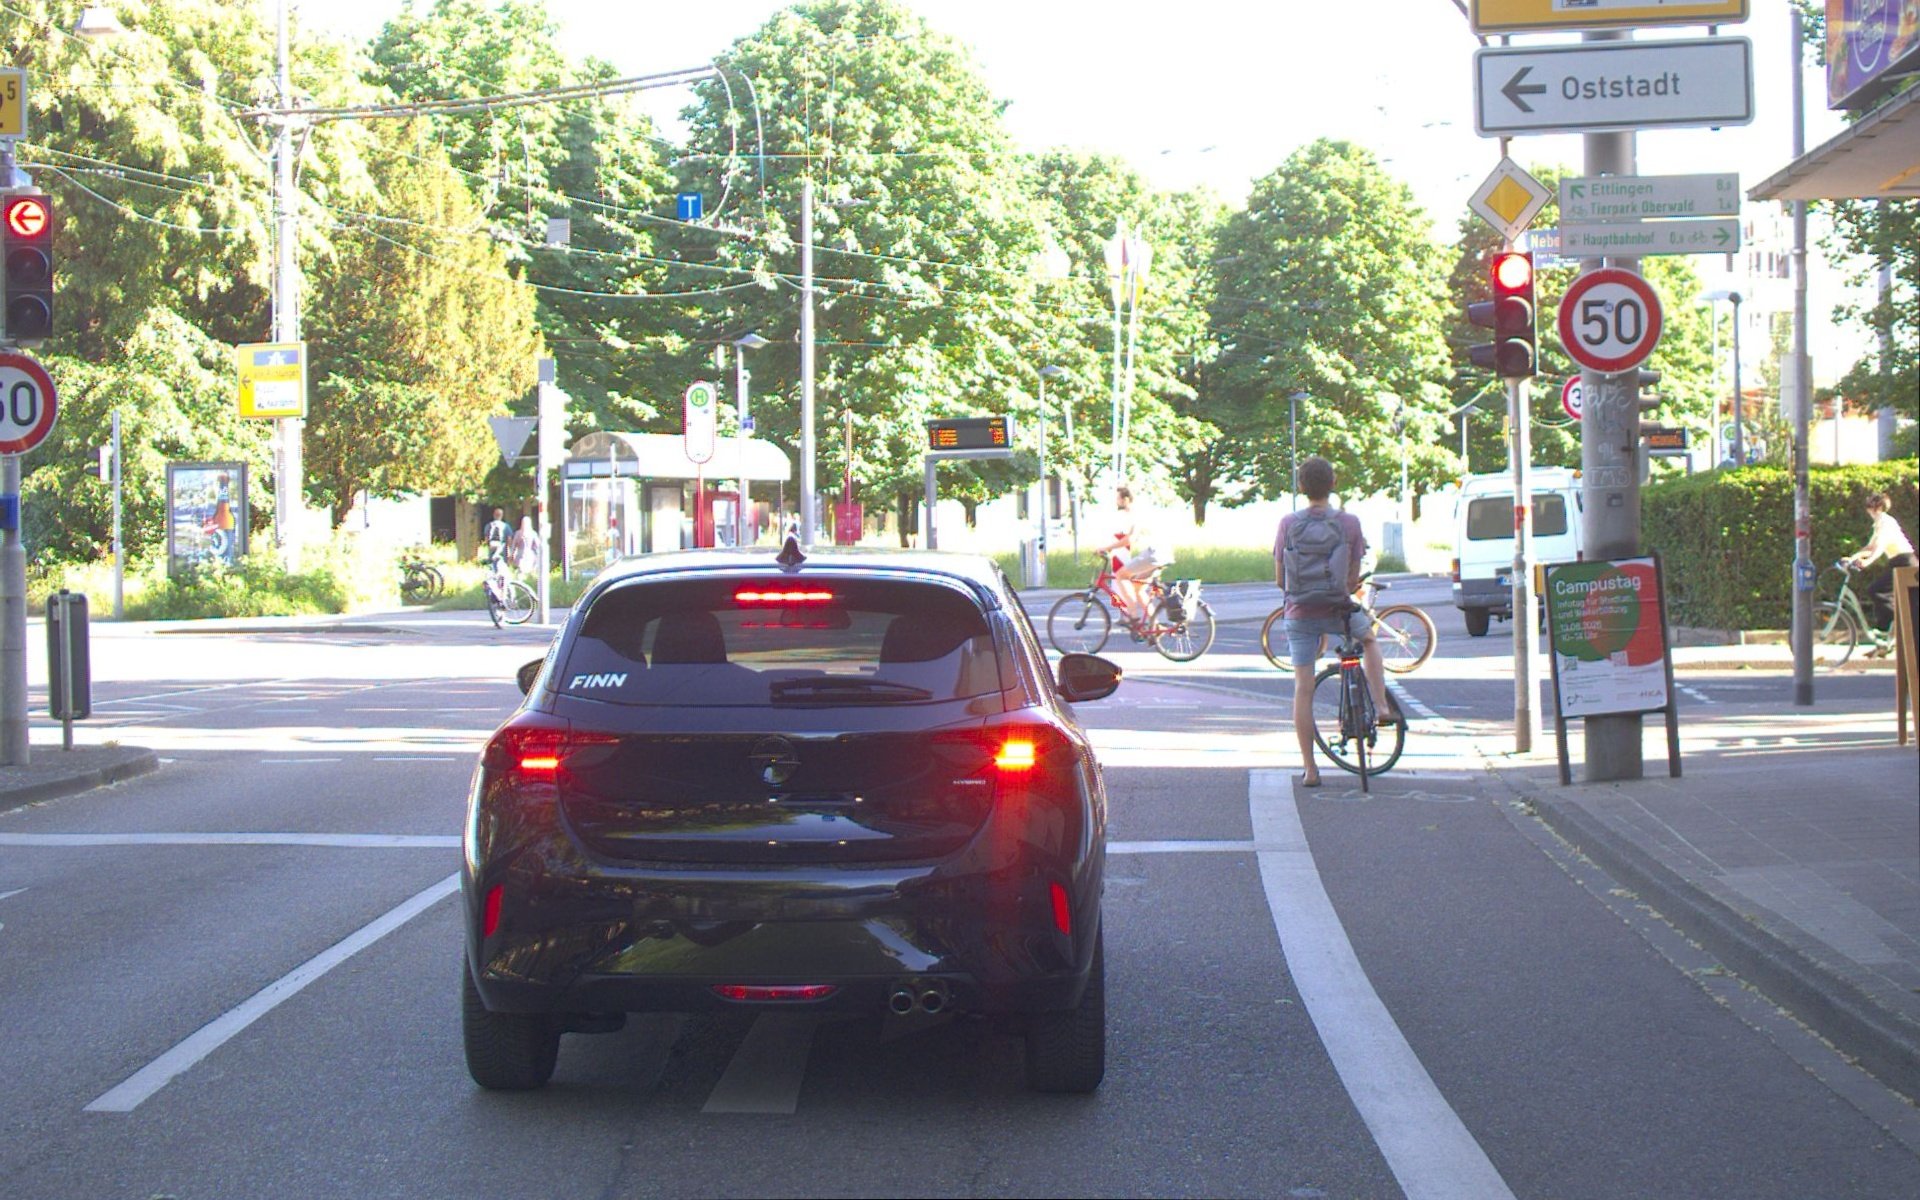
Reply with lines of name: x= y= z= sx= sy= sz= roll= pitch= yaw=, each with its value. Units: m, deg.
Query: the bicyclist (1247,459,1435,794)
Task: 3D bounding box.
bicyclist: x=2.146 y=0.138 z=19.455 sx=0.941 sy=1.845 sz=0.864 roll=-1 pitch=1 yaw=-1

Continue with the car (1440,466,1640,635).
car: x=8.183 y=-0.718 z=48.151 sx=2.065 sy=2.241 sz=4.883 roll=0 pitch=1 yaw=18

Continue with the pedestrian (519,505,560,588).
pedestrian: x=-8.394 y=-1.062 z=68.636 sx=0.636 sy=1.624 sz=0.572 roll=2 pitch=0 yaw=7

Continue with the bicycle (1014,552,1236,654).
bicycle: x=1.792 y=0.032 z=37.234 sx=2.294 sy=1.080 sz=0.800 roll=0 pitch=1 yaw=13

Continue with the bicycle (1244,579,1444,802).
bicycle: x=2.150 y=0.478 z=19.523 sx=0.860 sy=1.149 sz=2.172 roll=-1 pitch=1 yaw=-1

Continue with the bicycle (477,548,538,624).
bicycle: x=-6.344 y=-0.209 z=48.235 sx=0.605 sy=1.028 sz=1.982 roll=0 pitch=1 yaw=0

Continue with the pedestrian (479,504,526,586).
pedestrian: x=-9.143 y=-1.095 z=68.719 sx=0.751 sy=1.624 sz=0.597 roll=2 pitch=0 yaw=7

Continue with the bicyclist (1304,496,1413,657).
bicyclist: x=3.952 y=-0.237 z=34.064 sx=1.010 sy=1.565 sz=0.799 roll=0 pitch=1 yaw=11

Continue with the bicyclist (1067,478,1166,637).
bicyclist: x=1.702 y=-0.460 z=37.237 sx=0.927 sy=1.701 sz=0.875 roll=0 pitch=1 yaw=12

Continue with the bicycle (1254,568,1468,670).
bicycle: x=3.978 y=0.182 z=34.071 sx=2.059 sy=0.980 sz=0.672 roll=0 pitch=1 yaw=11

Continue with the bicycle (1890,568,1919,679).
bicycle: x=9.981 y=0.209 z=32.433 sx=2.190 sy=1.029 sz=0.835 roll=-1 pitch=1 yaw=-13

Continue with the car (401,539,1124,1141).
car: x=-0.481 y=0.542 z=10.373 sx=1.727 sy=1.424 sz=4.187 roll=1 pitch=1 yaw=0

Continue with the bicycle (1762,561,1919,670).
bicycle: x=9.233 y=0.157 z=35.039 sx=2.056 sy=1.090 sz=0.592 roll=0 pitch=1 yaw=13

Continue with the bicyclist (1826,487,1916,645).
bicyclist: x=9.276 y=-0.348 z=35.025 sx=0.861 sy=1.589 sz=0.649 roll=0 pitch=1 yaw=13
